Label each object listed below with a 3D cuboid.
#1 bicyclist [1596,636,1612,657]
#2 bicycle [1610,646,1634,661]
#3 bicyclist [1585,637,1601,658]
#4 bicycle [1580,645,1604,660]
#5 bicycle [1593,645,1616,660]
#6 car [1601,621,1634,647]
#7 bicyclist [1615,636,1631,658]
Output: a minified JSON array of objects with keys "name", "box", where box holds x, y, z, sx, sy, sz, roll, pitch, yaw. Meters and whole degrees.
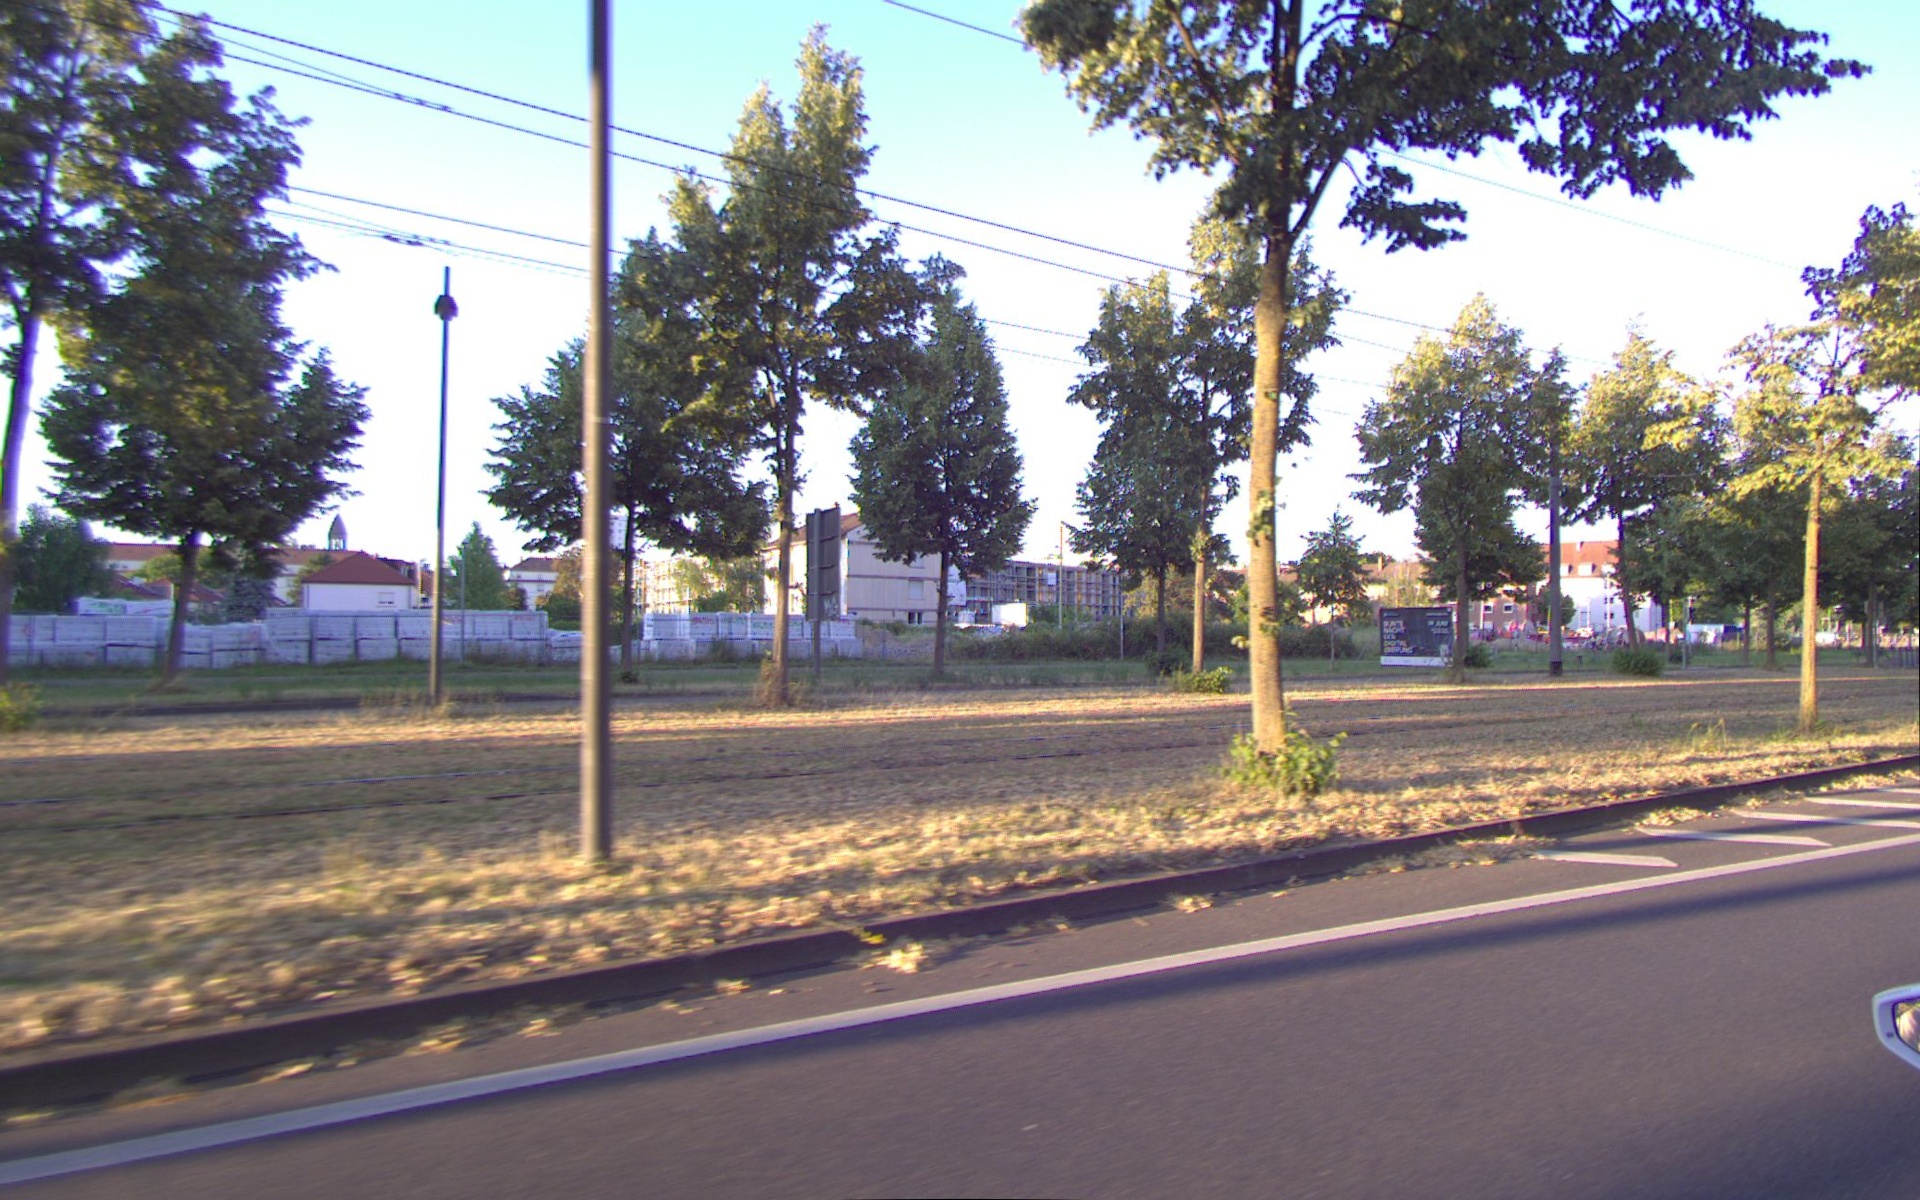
[{"name":"bicyclist","box":[45.315,3.255,70.658,0.927,1.475,0.615,1,-2,-33]},{"name":"bicycle","box":[46.151,3.696,70.035,2.061,1.024,0.615,2,-2,-34]},{"name":"bicyclist","box":[43.720,3.279,69.384,0.927,1.440,0.615,1,-2,-33]},{"name":"bicycle","box":[43.605,3.628,69.308,2.061,1.024,0.615,2,-2,-34]},{"name":"bicycle","box":[45.340,3.676,70.654,2.061,1.024,0.615,2,-2,-34]},{"name":"car","box":[59.494,3.099,90.856,2.383,2.254,5.900,-1,-2,35]},{"name":"bicyclist","box":[46.244,3.286,70.096,0.927,1.475,0.615,1,-2,-33]}]
